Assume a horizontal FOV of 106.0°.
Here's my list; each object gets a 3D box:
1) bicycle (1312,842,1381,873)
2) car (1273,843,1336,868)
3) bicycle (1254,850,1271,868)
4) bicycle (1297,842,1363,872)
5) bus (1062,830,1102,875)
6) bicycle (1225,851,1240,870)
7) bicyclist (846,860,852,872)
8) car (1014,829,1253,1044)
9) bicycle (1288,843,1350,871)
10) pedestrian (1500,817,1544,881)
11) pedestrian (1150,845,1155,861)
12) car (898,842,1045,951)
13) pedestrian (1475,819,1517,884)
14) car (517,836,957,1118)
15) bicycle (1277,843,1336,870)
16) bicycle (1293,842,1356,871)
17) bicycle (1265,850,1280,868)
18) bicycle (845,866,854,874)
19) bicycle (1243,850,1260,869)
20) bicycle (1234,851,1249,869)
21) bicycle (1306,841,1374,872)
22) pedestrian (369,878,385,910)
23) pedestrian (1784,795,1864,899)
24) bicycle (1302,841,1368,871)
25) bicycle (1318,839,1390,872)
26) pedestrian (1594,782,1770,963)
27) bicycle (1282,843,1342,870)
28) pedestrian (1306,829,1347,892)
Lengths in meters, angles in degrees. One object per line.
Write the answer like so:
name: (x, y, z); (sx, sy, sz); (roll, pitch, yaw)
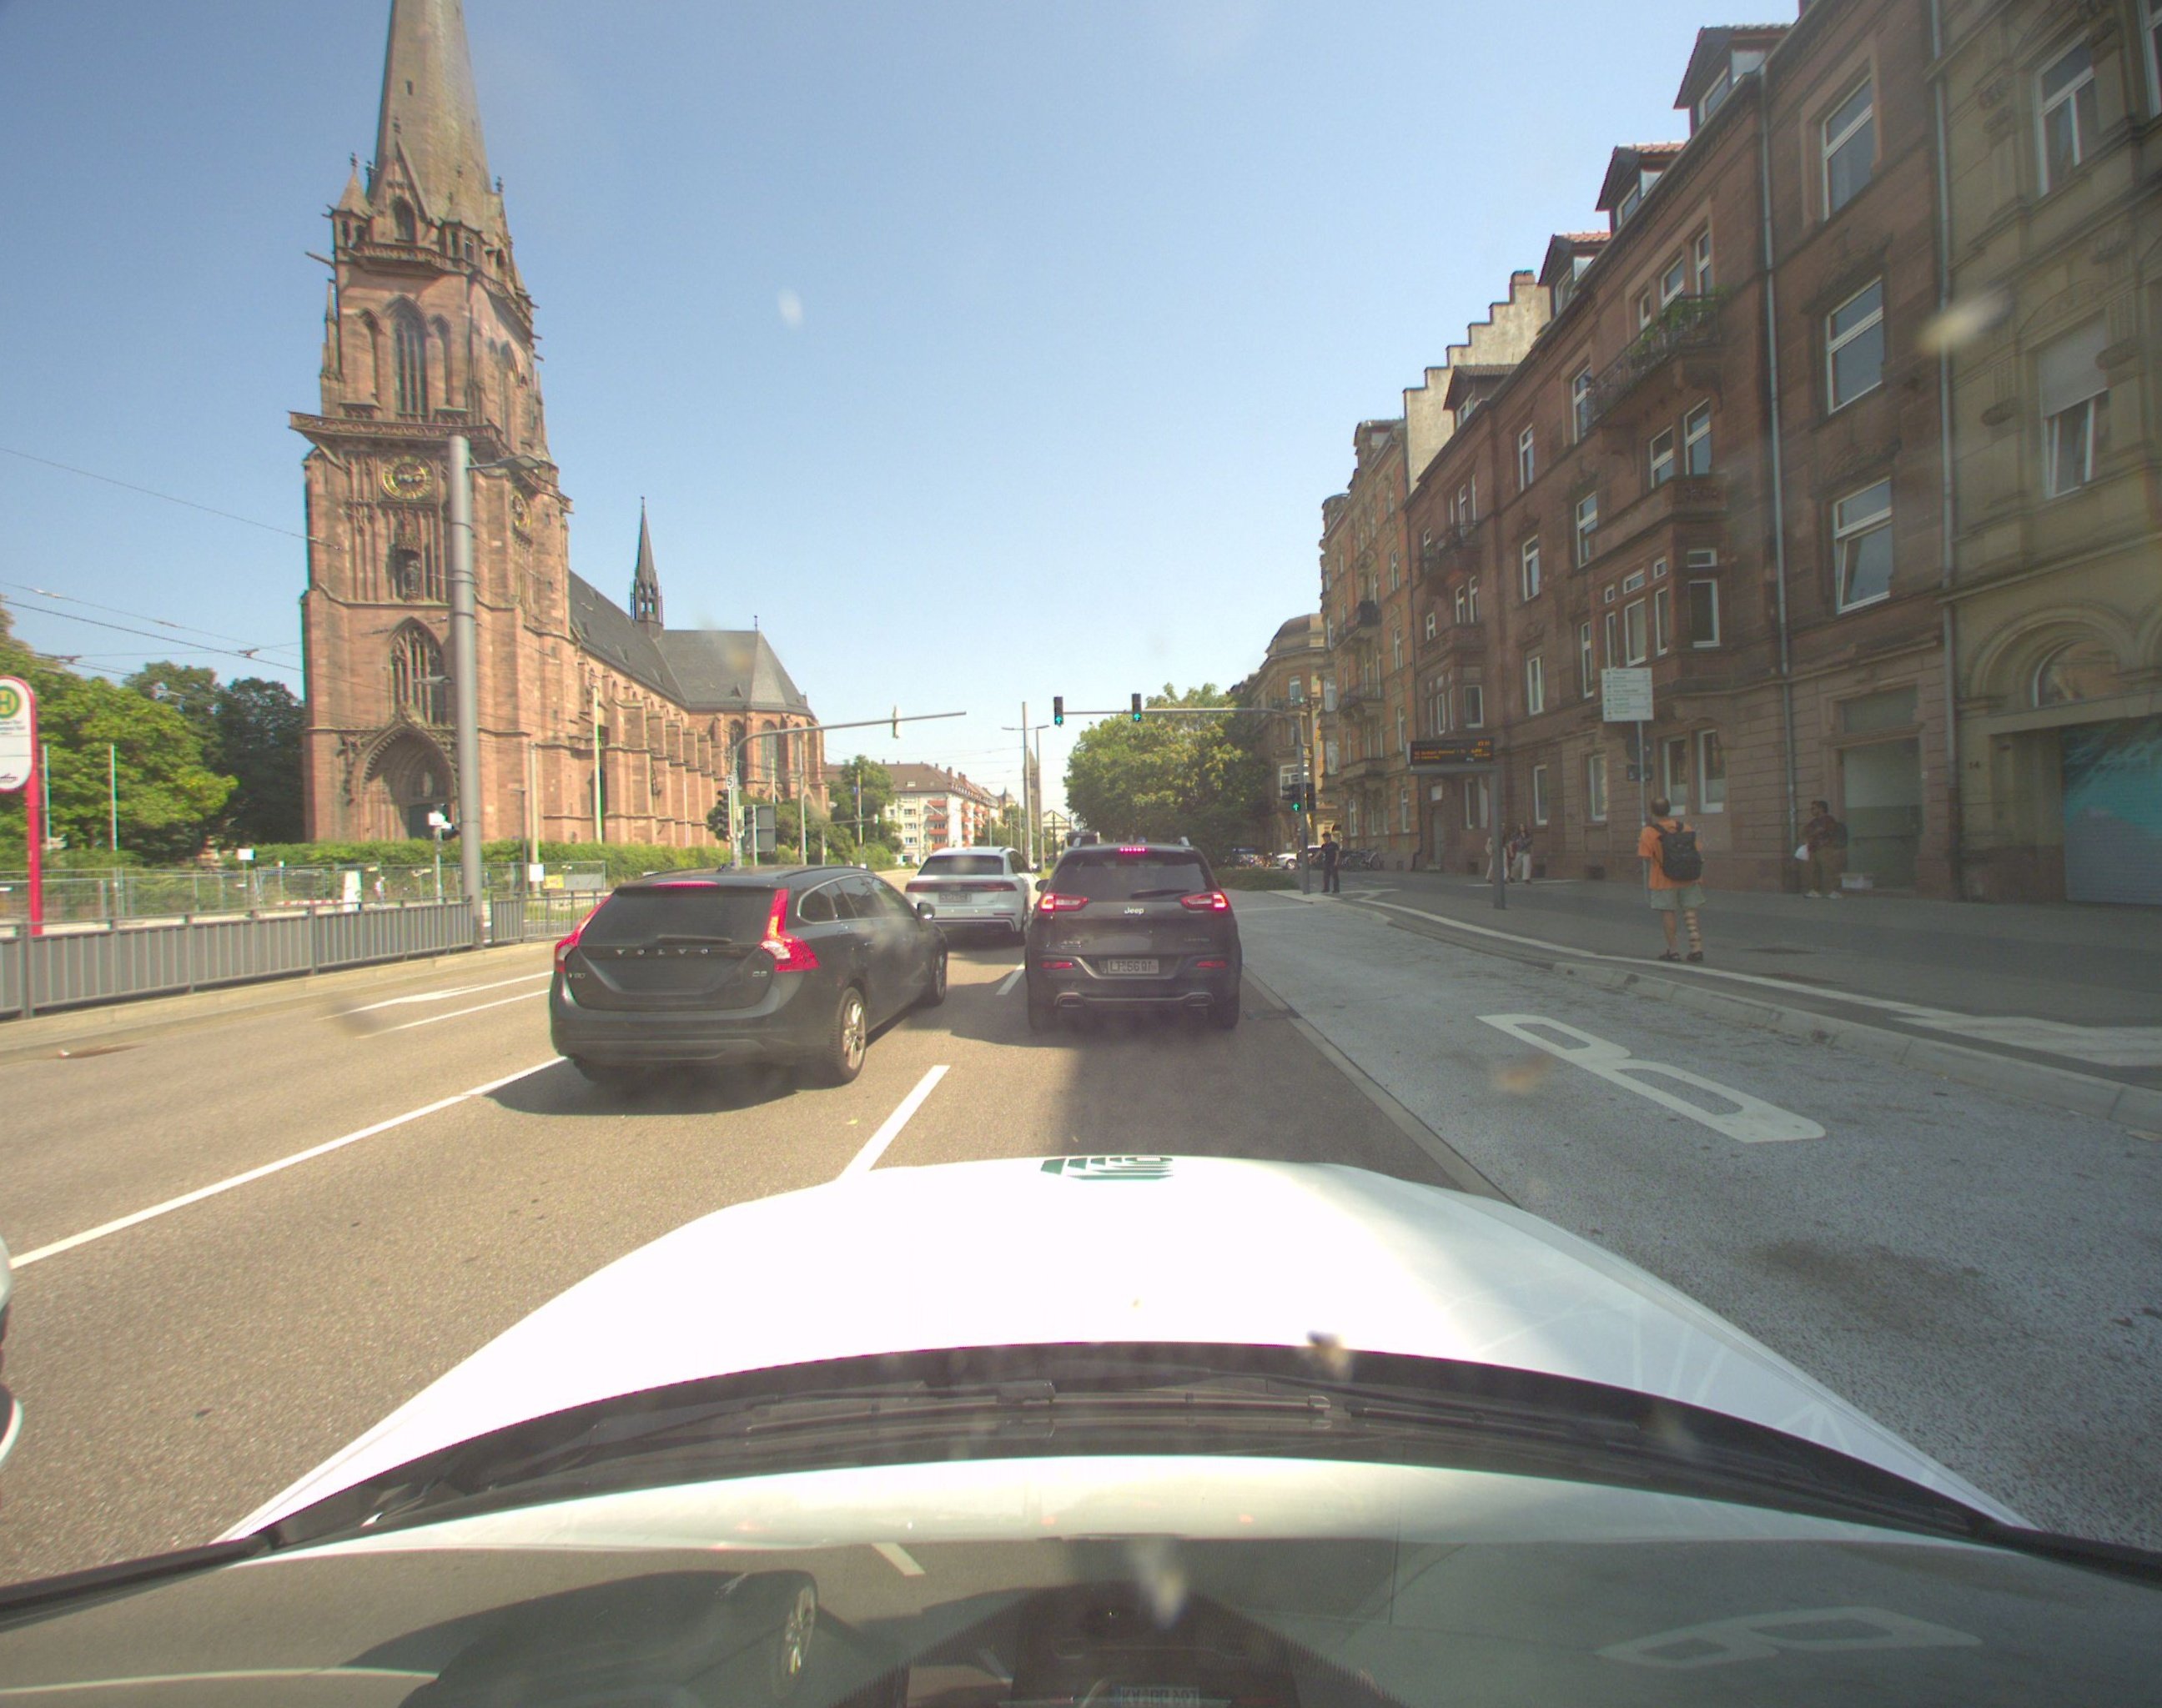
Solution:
bicycle: (12.611, 0.161, 38.754); (2.983, 1.371, 0.871); (-2, 0, 1)
car: (15.691, 0.100, 57.267); (3.926, 1.521, 1.679); (-2, 0, -6)
bicycle: (12.984, 0.358, 58.314); (0.759, 1.253, 3.017); (-2, 0, 4)
bicycle: (12.686, 0.135, 41.558); (2.993, 1.373, 0.948); (-2, 0, 1)
bus: (0.040, -0.066, 62.207); (2.734, 3.107, 11.952); (0, 0, 0)
bicycle: (10.844, 0.447, 58.377); (0.646, 1.253, 3.017); (-2, 0, 4)
bicyclist: (-24.469, 1.256, 85.909); (0.446, 1.321, 0.425); (-2, 0, 3)
car: (0.517, 0.634, 8.457); (1.825, 1.651, 4.312); (-1, 0, 3)
bicycle: (12.730, 0.155, 43.664); (2.993, 1.373, 0.948); (-2, 0, 1)
pedestrian: (12.516, -0.139, 23.145); (0.712, 1.778, 0.870); (-2, 0, 0)
pedestrian: (9.399, -0.145, 107.635); (0.526, 2.013, 0.532); (-2, 0, 0)
car: (-1.787, 0.654, 14.745); (1.895, 1.651, 4.310); (-1, 0, 2)
pedestrian: (11.780, -0.066, 23.141); (0.711, 1.776, 0.848); (-2, 0, 1)
car: (-2.328, 0.712, 6.884); (1.741, 1.614, 4.310); (-1, 0, 2)
bicycle: (12.729, 0.149, 46.024); (2.993, 1.373, 0.948); (-2, 0, 1)
bicycle: (12.735, 0.137, 42.653); (2.993, 1.373, 0.948); (-2, 0, 1)
bicycle: (13.798, 0.324, 58.729); (0.655, 1.249, 2.415); (-2, 0, 4)
bicycle: (-24.449, 1.678, 85.915); (0.452, 0.859, 1.477); (-2, 0, 3)
bicycle: (12.197, 0.390, 58.318); (0.729, 1.253, 3.017); (-2, 0, 4)
bicycle: (11.501, 0.417, 58.336); (0.646, 1.253, 3.017); (-2, 0, 4)
bicycle: (12.599, 0.109, 39.668); (2.983, 1.371, 0.871); (-2, 0, 1)
pedestrian: (-35.074, 1.980, 40.578); (0.547, 1.531, 0.431); (-2, 0, -35)
pedestrian: (13.271, -0.130, 14.559); (0.872, 1.778, 0.737); (-2, 0, -26)
bicycle: (12.654, 0.111, 40.615); (2.983, 1.371, 0.871); (-2, 0, 1)
bicycle: (12.671, 0.081, 37.846); (2.983, 1.371, 0.871); (-2, 0, 1)
pedestrian: (6.256, 0.200, 8.578); (0.958, 1.741, 1.242); (-2, -2, 8)
bicycle: (12.735, 0.141, 44.982); (2.993, 1.373, 0.948); (-2, 0, 1)
pedestrian: (7.069, 0.190, 23.404); (0.890, 1.741, 0.773); (-4, -1, 27)
